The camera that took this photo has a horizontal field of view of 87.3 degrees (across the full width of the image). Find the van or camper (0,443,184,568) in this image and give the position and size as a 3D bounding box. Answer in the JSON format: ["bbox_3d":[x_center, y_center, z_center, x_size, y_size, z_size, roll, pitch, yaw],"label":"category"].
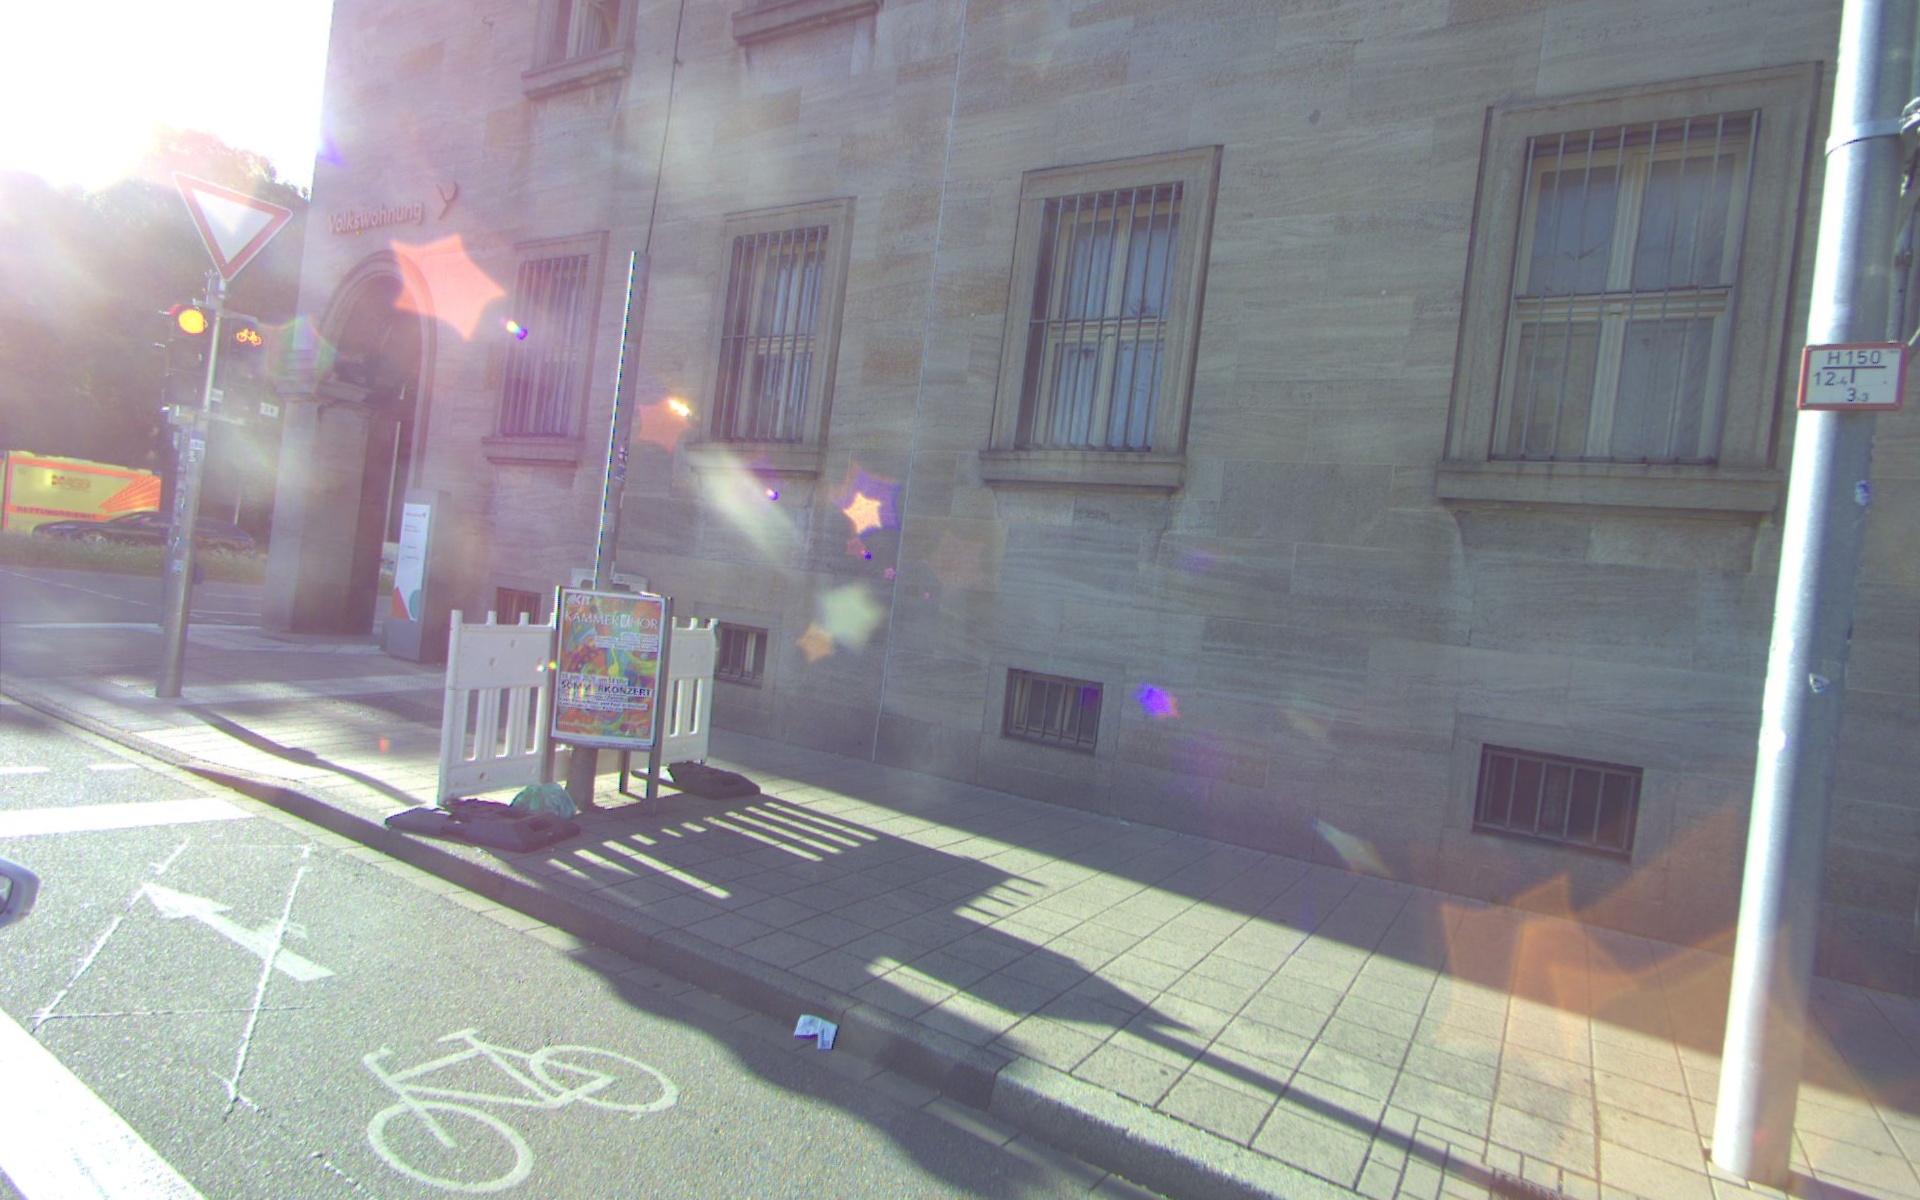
[{"bbox_3d":[-27.731,-2.955,29.844,2.866,2.893,6.716,6,-3,36],"label":"van or camper"}]

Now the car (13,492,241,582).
[{"bbox_3d":[-22.640,-1.674,27.539,1.857,1.665,4.324,6,-3,32],"label":"car"}]
